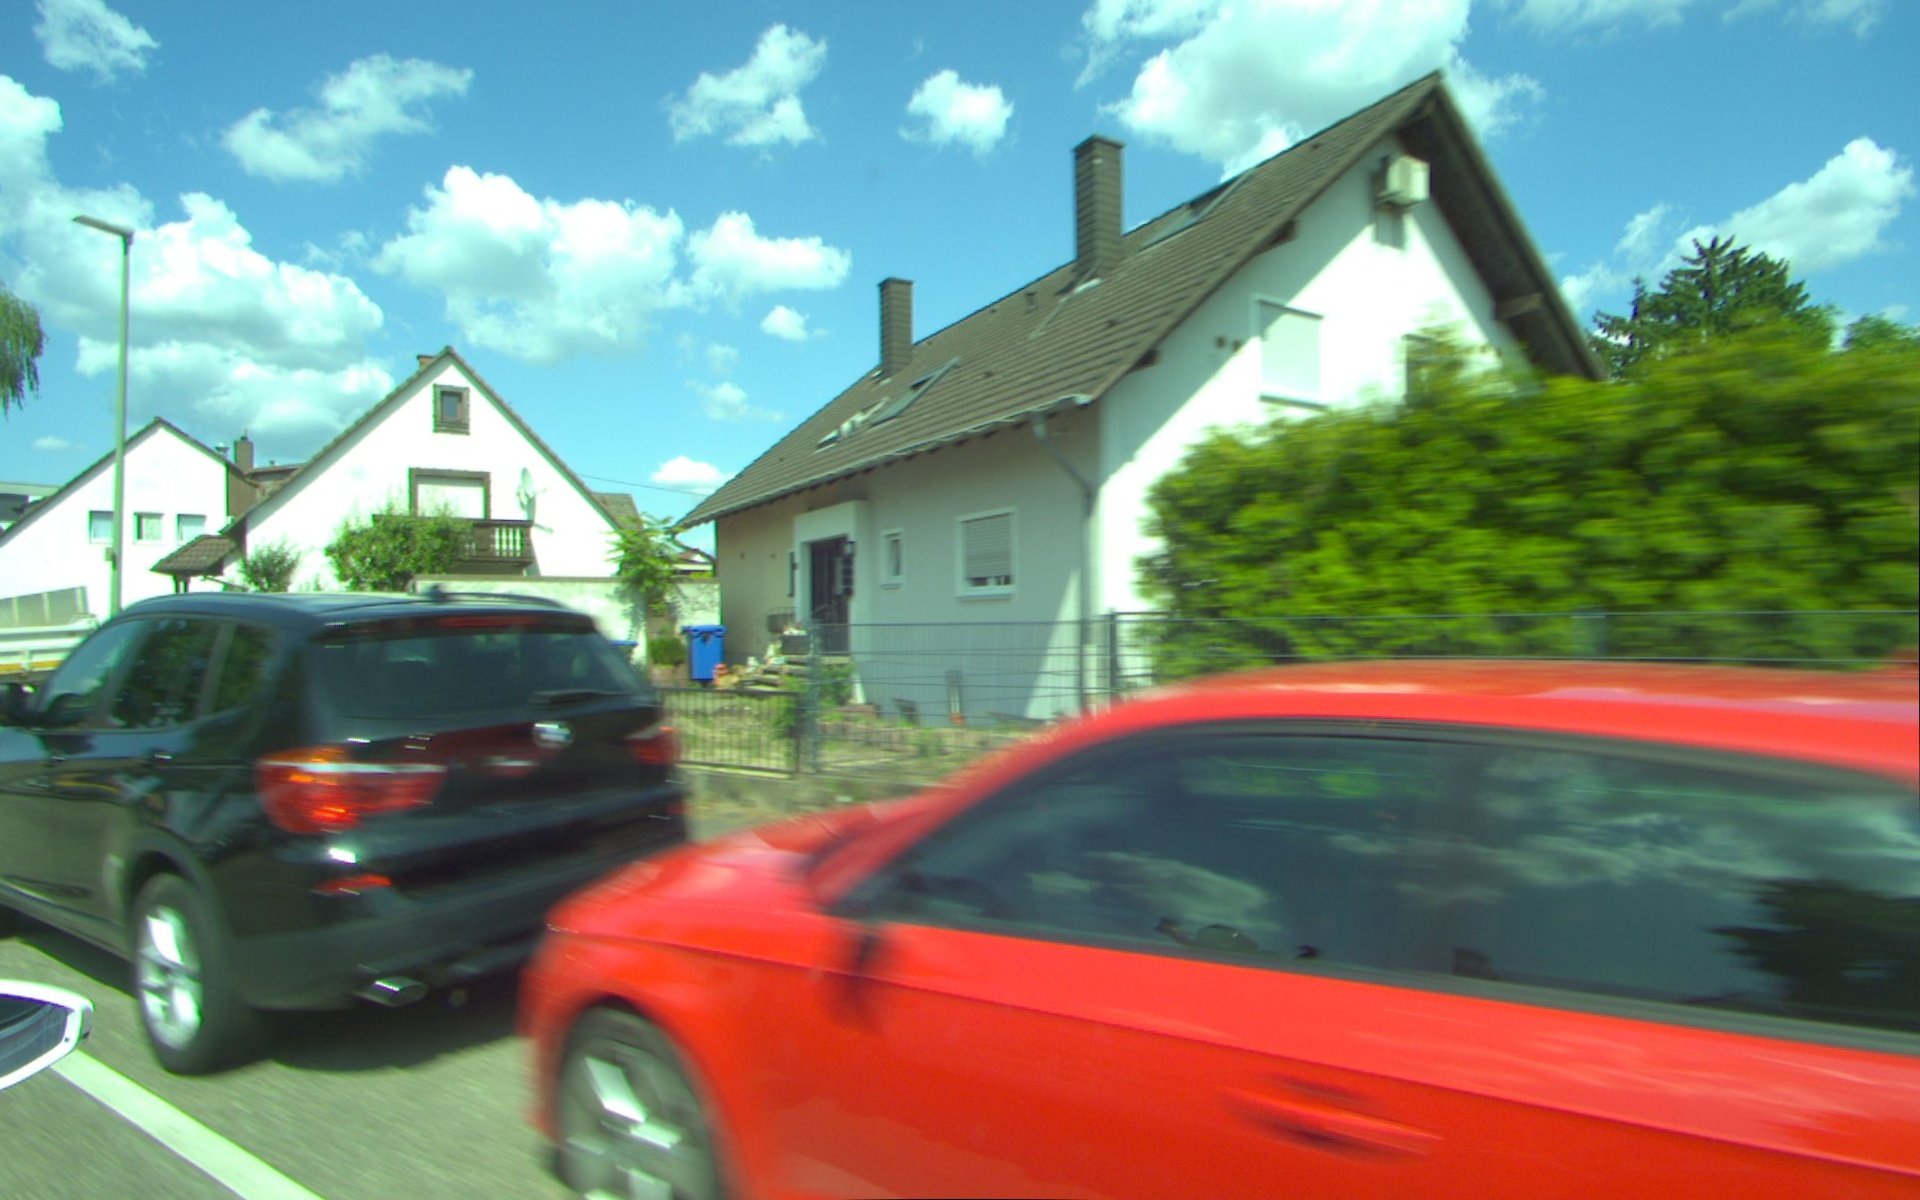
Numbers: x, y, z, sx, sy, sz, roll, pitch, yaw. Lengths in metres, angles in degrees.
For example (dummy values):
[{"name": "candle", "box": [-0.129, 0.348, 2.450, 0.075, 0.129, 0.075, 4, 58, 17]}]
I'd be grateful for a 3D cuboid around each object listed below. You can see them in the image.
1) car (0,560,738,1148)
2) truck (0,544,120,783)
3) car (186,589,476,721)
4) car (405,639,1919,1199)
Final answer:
[{"name": "car", "box": [-3.338, 0.785, 4.887, 4.490, 1.683, 1.826, -1, -1, 34]}, {"name": "truck", "box": [-11.983, 0.683, 11.063, 5.813, 2.331, 2.514, -1, 2, 34]}, {"name": "car", "box": [-10.356, 0.838, 16.400, 4.943, 1.890, 1.855, -1, -1, 28]}, {"name": "car", "box": [0.622, 0.831, 2.311, 4.089, 1.453, 1.681, -1, -2, 34]}]
